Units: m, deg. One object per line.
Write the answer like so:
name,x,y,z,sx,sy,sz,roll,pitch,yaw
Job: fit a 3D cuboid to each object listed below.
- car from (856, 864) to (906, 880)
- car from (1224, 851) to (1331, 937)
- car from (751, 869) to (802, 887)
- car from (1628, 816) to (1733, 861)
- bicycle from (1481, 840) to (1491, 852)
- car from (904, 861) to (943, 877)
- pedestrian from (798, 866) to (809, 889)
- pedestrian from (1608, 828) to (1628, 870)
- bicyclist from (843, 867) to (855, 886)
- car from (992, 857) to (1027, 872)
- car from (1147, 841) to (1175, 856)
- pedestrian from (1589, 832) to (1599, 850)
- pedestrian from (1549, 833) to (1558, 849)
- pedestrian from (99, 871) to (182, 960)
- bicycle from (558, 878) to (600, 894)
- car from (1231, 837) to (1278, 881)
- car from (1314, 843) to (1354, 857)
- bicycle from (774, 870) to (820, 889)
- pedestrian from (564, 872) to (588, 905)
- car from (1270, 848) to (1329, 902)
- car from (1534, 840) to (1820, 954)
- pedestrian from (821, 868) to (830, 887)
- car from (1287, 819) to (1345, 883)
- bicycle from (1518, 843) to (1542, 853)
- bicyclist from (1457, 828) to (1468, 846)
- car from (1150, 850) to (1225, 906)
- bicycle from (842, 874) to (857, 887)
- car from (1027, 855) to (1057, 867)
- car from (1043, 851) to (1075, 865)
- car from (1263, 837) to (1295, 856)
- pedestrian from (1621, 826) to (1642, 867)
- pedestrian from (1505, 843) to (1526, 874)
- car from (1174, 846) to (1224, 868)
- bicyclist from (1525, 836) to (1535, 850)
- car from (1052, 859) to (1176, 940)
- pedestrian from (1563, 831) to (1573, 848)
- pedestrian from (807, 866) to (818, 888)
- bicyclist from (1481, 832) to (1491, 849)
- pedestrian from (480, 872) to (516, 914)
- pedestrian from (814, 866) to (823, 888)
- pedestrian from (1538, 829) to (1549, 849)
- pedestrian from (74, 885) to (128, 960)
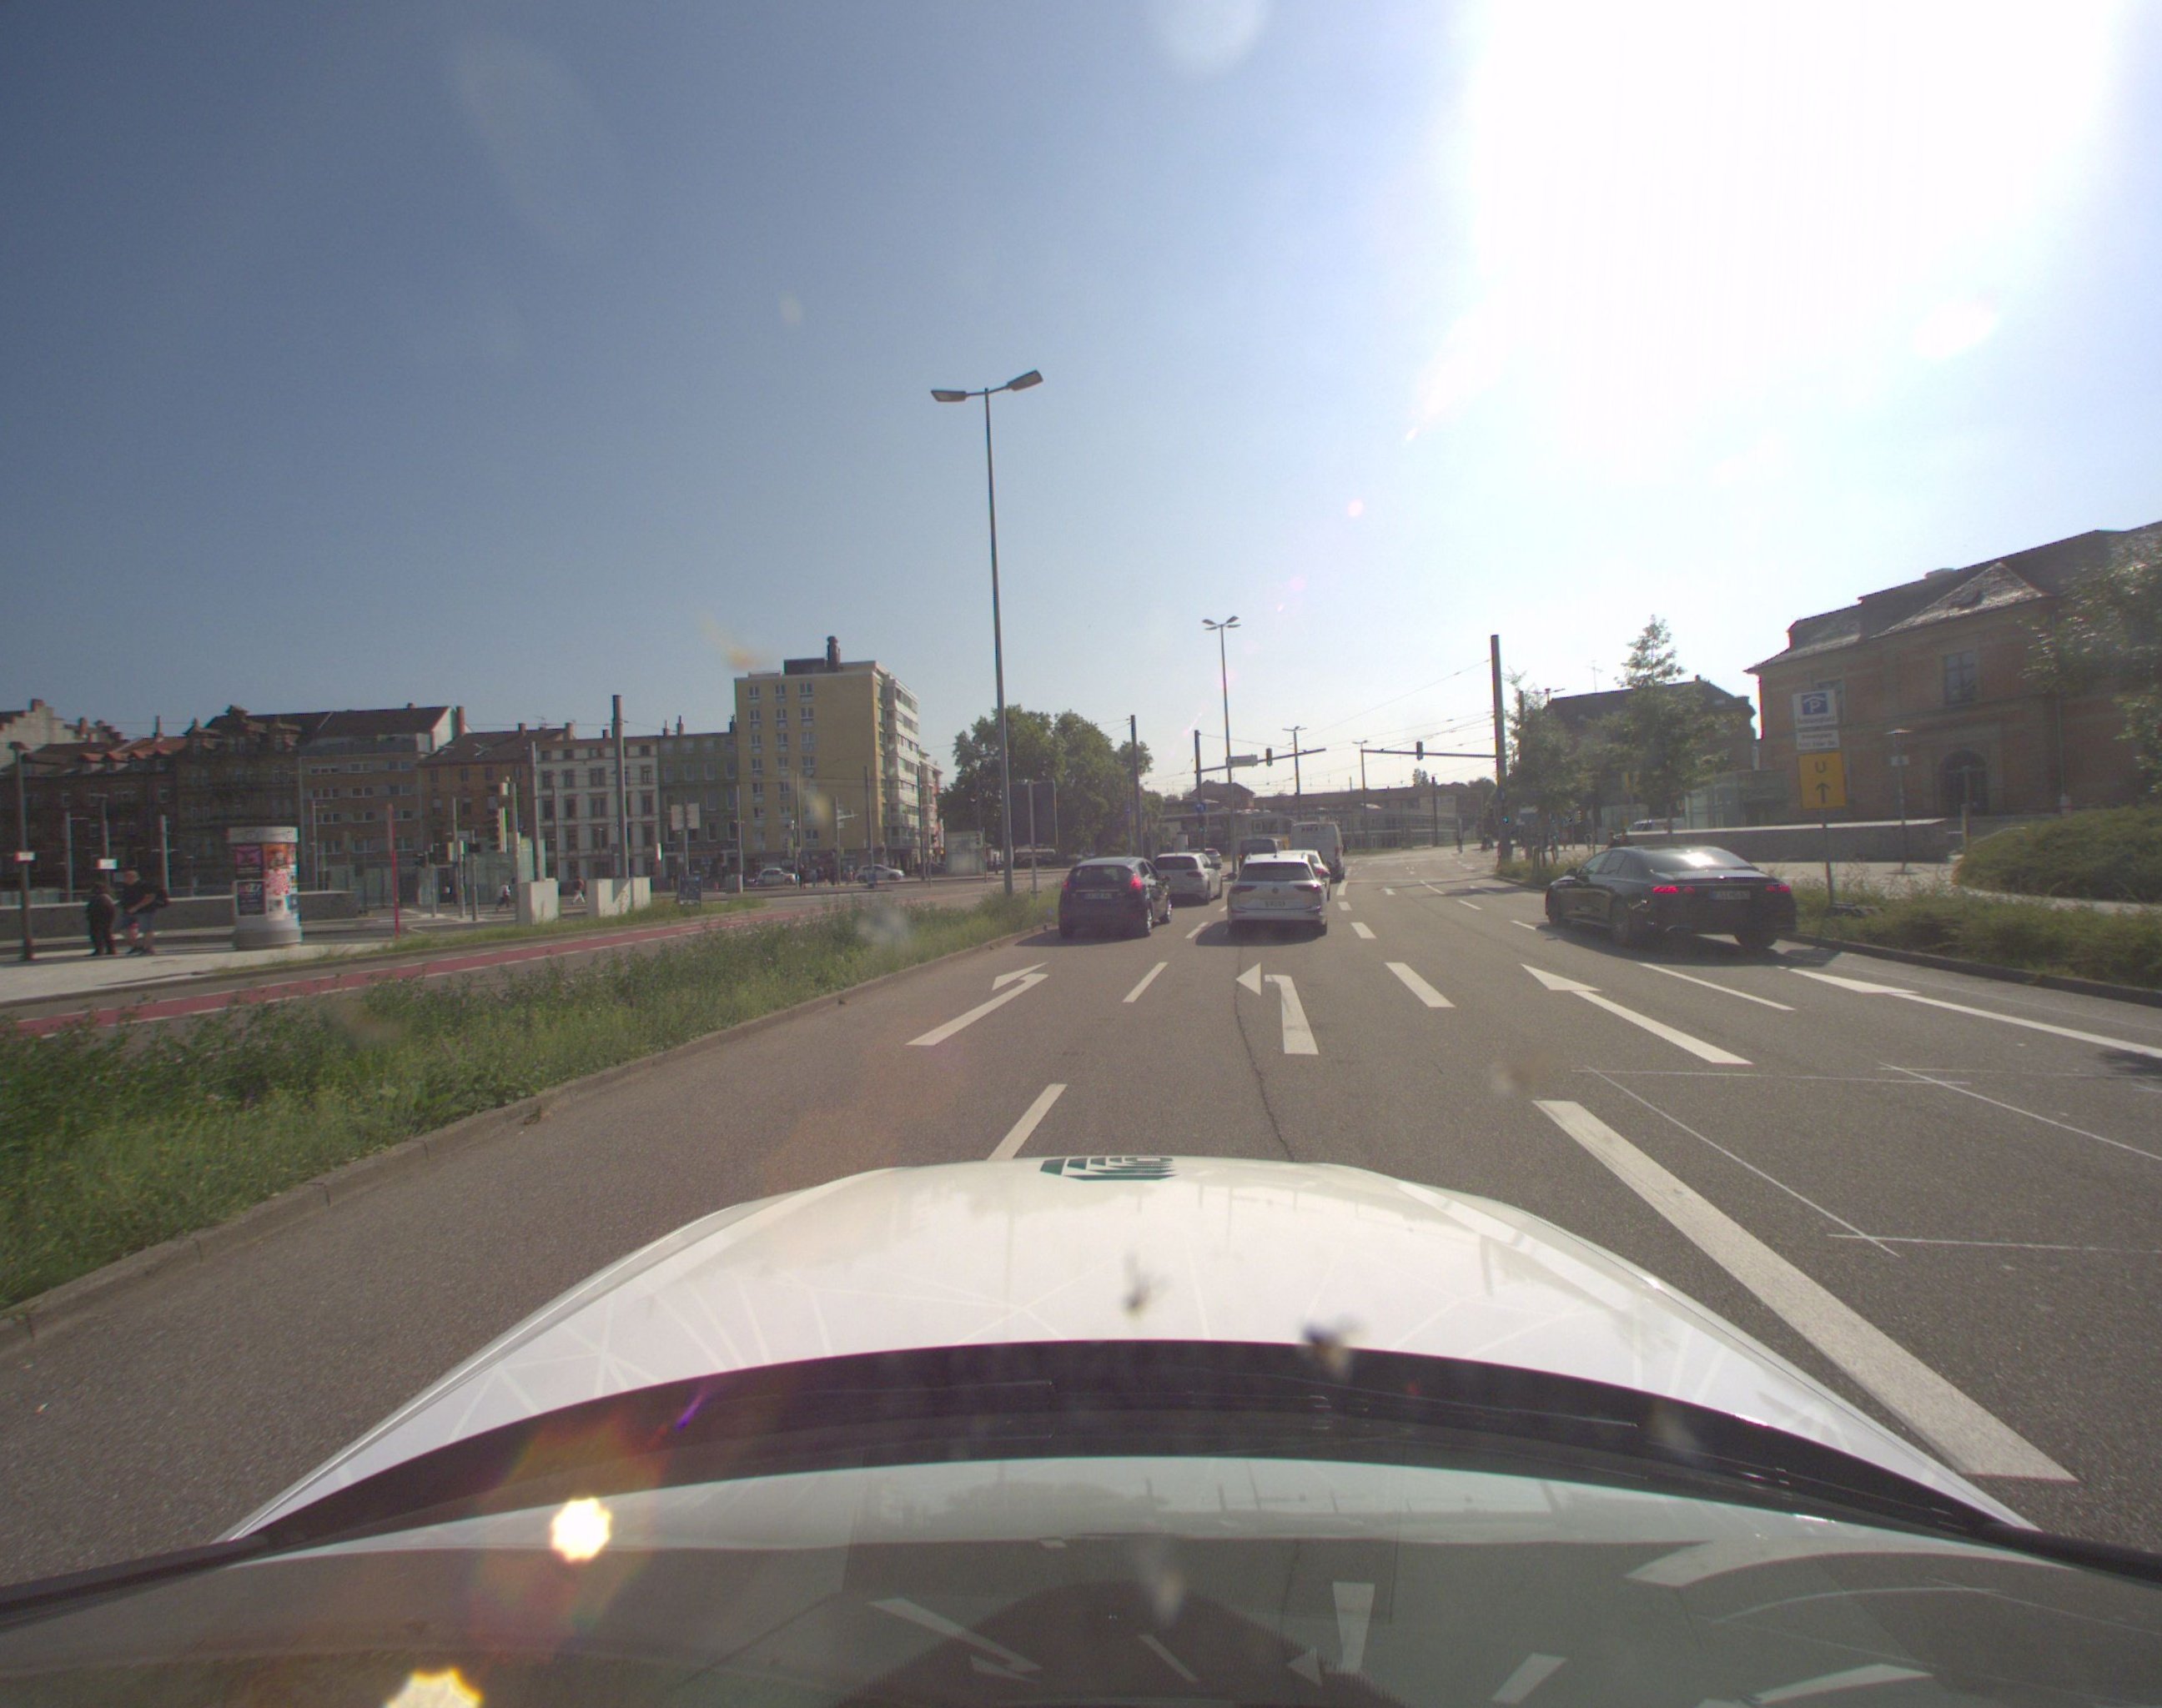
car,-16.651,1.483,67.953,3.821,1.180,1.574,-3,0,-4
car,3.720,0.673,15.262,1.672,1.387,3.649,-2,-1,15
car,-26.446,2.068,70.818,3.723,1.393,1.588,-3,0,2
car,29.539,-0.785,40.186,3.980,2.013,1.751,-3,2,-5
bicycle,36.254,-0.730,72.846,0.699,1.061,1.994,-3,0,28
car,-17.829,1.703,92.356,3.971,1.557,1.870,-2,2,2
pedestrian,-21.660,1.826,63.498,0.450,1.684,0.551,-2,2,26
pedestrian,21.640,-0.204,32.812,0.608,1.639,0.537,-3,-1,35
bicyclist,-18.425,1.773,64.665,0.724,1.434,0.689,-2,0,-2
car,-8.780,1.297,99.994,3.973,1.558,1.728,-3,0,1
car,12.027,-0.831,122.507,3.960,2.013,2.007,-2,2,12
pedestrian,40.002,-1.005,63.502,0.651,1.360,0.663,-2,2,32
pedestrian,40.403,-1.110,69.613,0.651,1.360,0.663,-2,2,32
pedestrian,-20.620,1.321,17.862,0.870,1.818,0.901,-1,2,27
bicycle,-48.987,3.121,79.469,3.518,1.347,0.774,-3,2,0
car,8.872,0.235,41.284,2.008,2.008,4.702,-2,0,15
car,27.522,-0.394,88.649,3.942,1.342,1.935,-3,0,9
bicycle,-27.536,2.491,79.020,3.974,1.551,1.196,-3,2,-1
pedestrian,-28.402,1.936,45.801,0.774,1.786,0.857,-1,2,-1
car,6.441,0.581,24.006,1.478,1.403,3.958,-2,-1,15
car,8.993,0.553,12.902,1.807,1.440,4.890,-2,0,12
pedestrian,-20.468,1.914,65.330,0.501,1.487,0.435,-4,3,-37
car,10.285,-0.112,35.456,2.171,2.549,4.705,-2,-1,17
bicycle,45.870,-0.628,83.245,2.032,0.894,0.751,-3,0,32
bicyclist,33.569,-1.481,71.686,0.764,1.578,0.997,-2,-1,30
car,3.150,0.645,23.506,1.477,1.415,3.664,-2,0,17
bicycle,-18.411,2.113,64.702,0.726,0.984,1.730,-2,0,-2
car,-5.455,1.008,114.423,3.973,1.558,1.728,-3,0,1
car,-2.799,0.487,104.781,3.973,1.558,1.728,-3,0,1
car,23.282,-0.908,95.700,1.974,2.013,4.694,-3,0,35
pedestrian,22.370,-0.321,33.080,0.608,1.628,0.537,-3,-1,35
pedestrian,19.826,0.192,37.134,0.632,1.362,0.636,-3,0,11
car,8.789,0.241,60.782,1.631,1.502,4.053,-2,-1,-27
bicyclist,45.858,-1.119,83.251,0.796,1.460,0.753,-3,0,32
car,0.793,0.805,16.167,1.689,1.368,3.978,-1,0,14
pedestrian,41.558,-1.218,69.459,0.651,1.360,0.663,-2,2,32
pedestrian,-21.062,1.773,63.910,0.451,1.684,0.549,-2,2,14
bicyclist,36.255,-1.202,72.893,0.706,1.529,0.811,-3,0,28
pedestrian,-29.597,1.981,41.357,0.954,2.013,1.022,-2,2,2
pedestrian,-20.939,1.811,64.967,0.458,1.684,0.435,-4,3,-37
pedestrian,44.260,-1.423,77.924,0.796,1.888,0.753,-3,0,28
pedestrian,-21.455,1.491,17.836,0.493,1.579,0.510,-2,2,16
